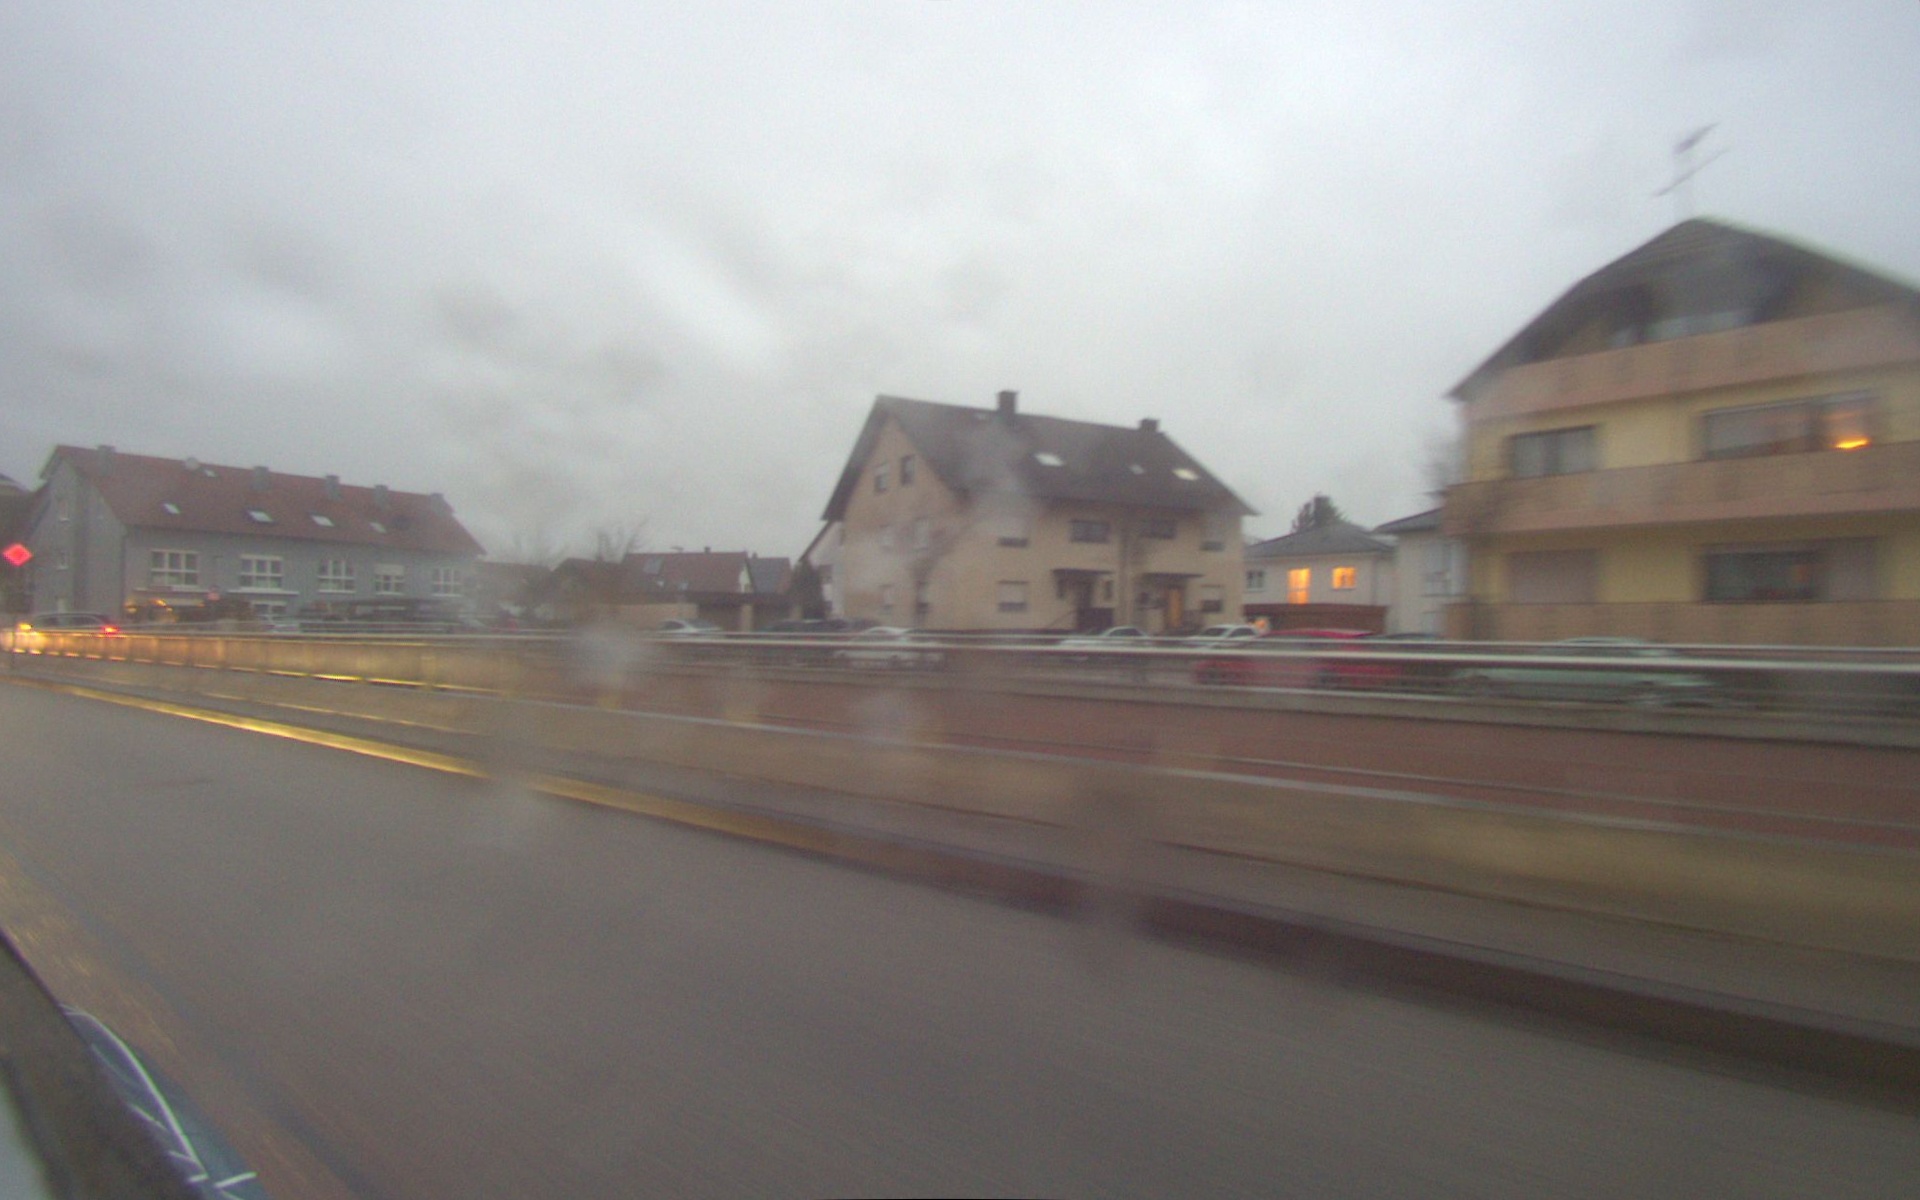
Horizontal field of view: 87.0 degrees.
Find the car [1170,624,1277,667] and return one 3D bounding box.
[{"bbox_3d":[10.754,1.816,41.304,3.931,1.556,2.006,-1,0,-30],"label":"car"}]

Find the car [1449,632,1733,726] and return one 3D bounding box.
[{"bbox_3d":[11.547,1.363,18.717,4.145,1.517,1.855,-2,-2,45],"label":"car"}]

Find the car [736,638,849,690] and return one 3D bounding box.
[{"bbox_3d":[-5.860,2.185,35.260,4.002,1.529,1.875,0,1,44],"label":"car"}]

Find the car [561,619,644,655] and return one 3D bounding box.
[{"bbox_3d":[-15.595,1.570,44.076,3.830,1.425,1.660,0,1,39],"label":"car"}]

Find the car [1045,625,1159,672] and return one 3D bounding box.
[{"bbox_3d":[5.406,1.792,38.470,3.971,1.535,1.819,-2,0,-29],"label":"car"}]

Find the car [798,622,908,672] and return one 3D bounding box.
[{"bbox_3d":[-3.934,1.674,36.911,3.999,1.659,1.791,-2,0,42],"label":"car"}]

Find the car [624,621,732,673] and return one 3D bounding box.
[{"bbox_3d":[-11.352,1.855,40.661,4.351,1.919,1.975,-2,0,38],"label":"car"}]

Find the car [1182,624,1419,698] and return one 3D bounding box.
[{"bbox_3d":[7.413,1.271,22.388,1.855,1.453,4.651,1,-2,-44],"label":"car"}]

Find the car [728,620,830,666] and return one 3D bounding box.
[{"bbox_3d":[-7.183,1.676,39.959,3.997,1.659,1.816,-2,0,40],"label":"car"}]

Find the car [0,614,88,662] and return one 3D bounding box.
[{"bbox_3d":[-35.374,1.423,37.429,1.992,1.633,4.302,-1,0,30],"label":"car"}]

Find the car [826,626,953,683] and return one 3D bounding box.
[{"bbox_3d":[-2.290,1.687,32.092,3.986,1.636,1.796,-2,0,44],"label":"car"}]
